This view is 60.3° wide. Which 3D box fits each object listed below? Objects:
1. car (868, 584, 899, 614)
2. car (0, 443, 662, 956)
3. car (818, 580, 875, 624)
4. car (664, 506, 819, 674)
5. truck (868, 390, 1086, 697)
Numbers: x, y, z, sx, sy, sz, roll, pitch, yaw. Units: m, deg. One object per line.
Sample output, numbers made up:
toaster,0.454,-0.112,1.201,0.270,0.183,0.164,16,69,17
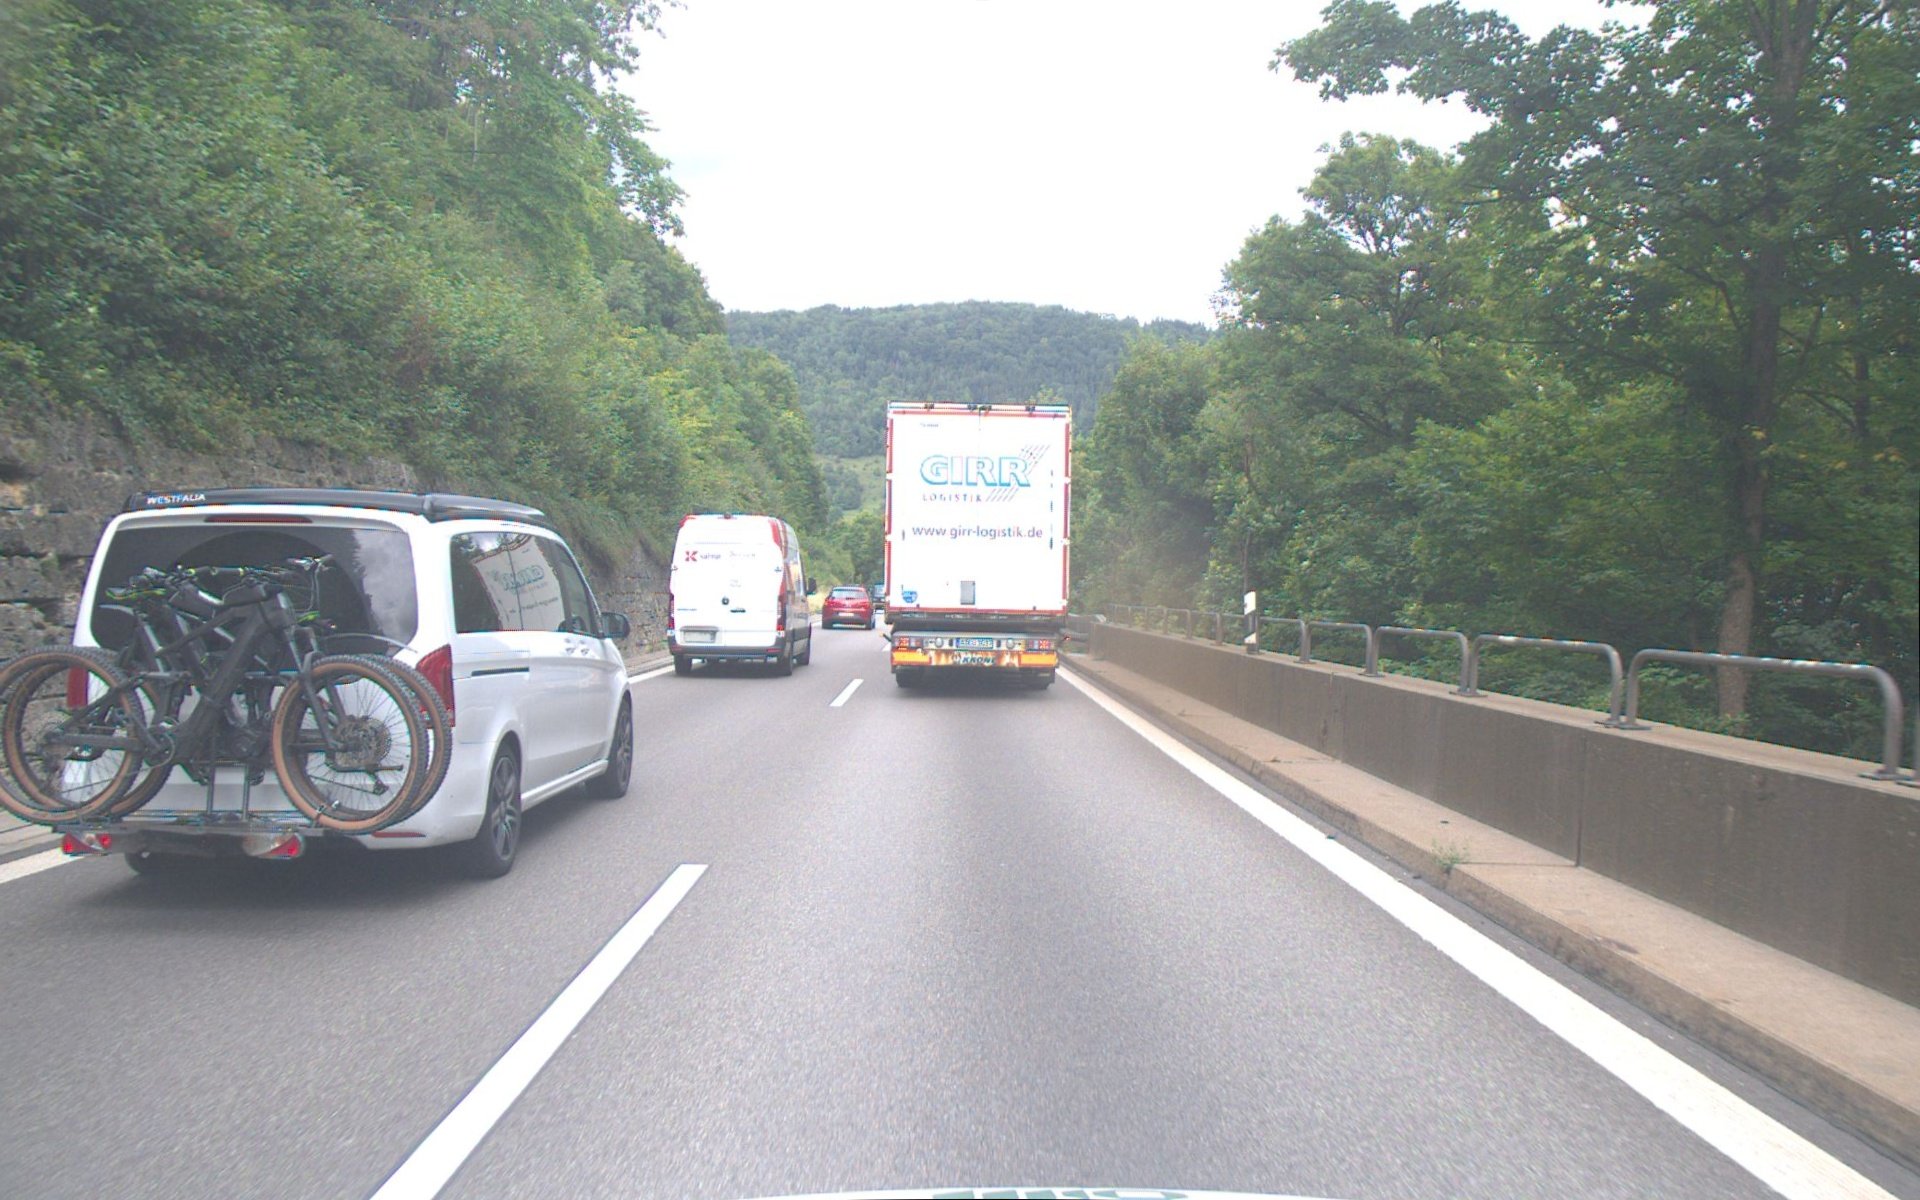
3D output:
car,-4.366,-0.035,94.383,1.635,1.667,4.067,0,0,-1
car,-3.225,0.360,9.563,1.953,1.987,6.146,1,1,-1
car,-3.909,0.063,57.543,1.730,1.485,4.411,0,0,0
car,-3.710,-0.163,29.197,1.985,2.630,6.273,0,0,-1
truck,0.234,-0.767,26.380,2.849,4.030,9.278,0,0,0
